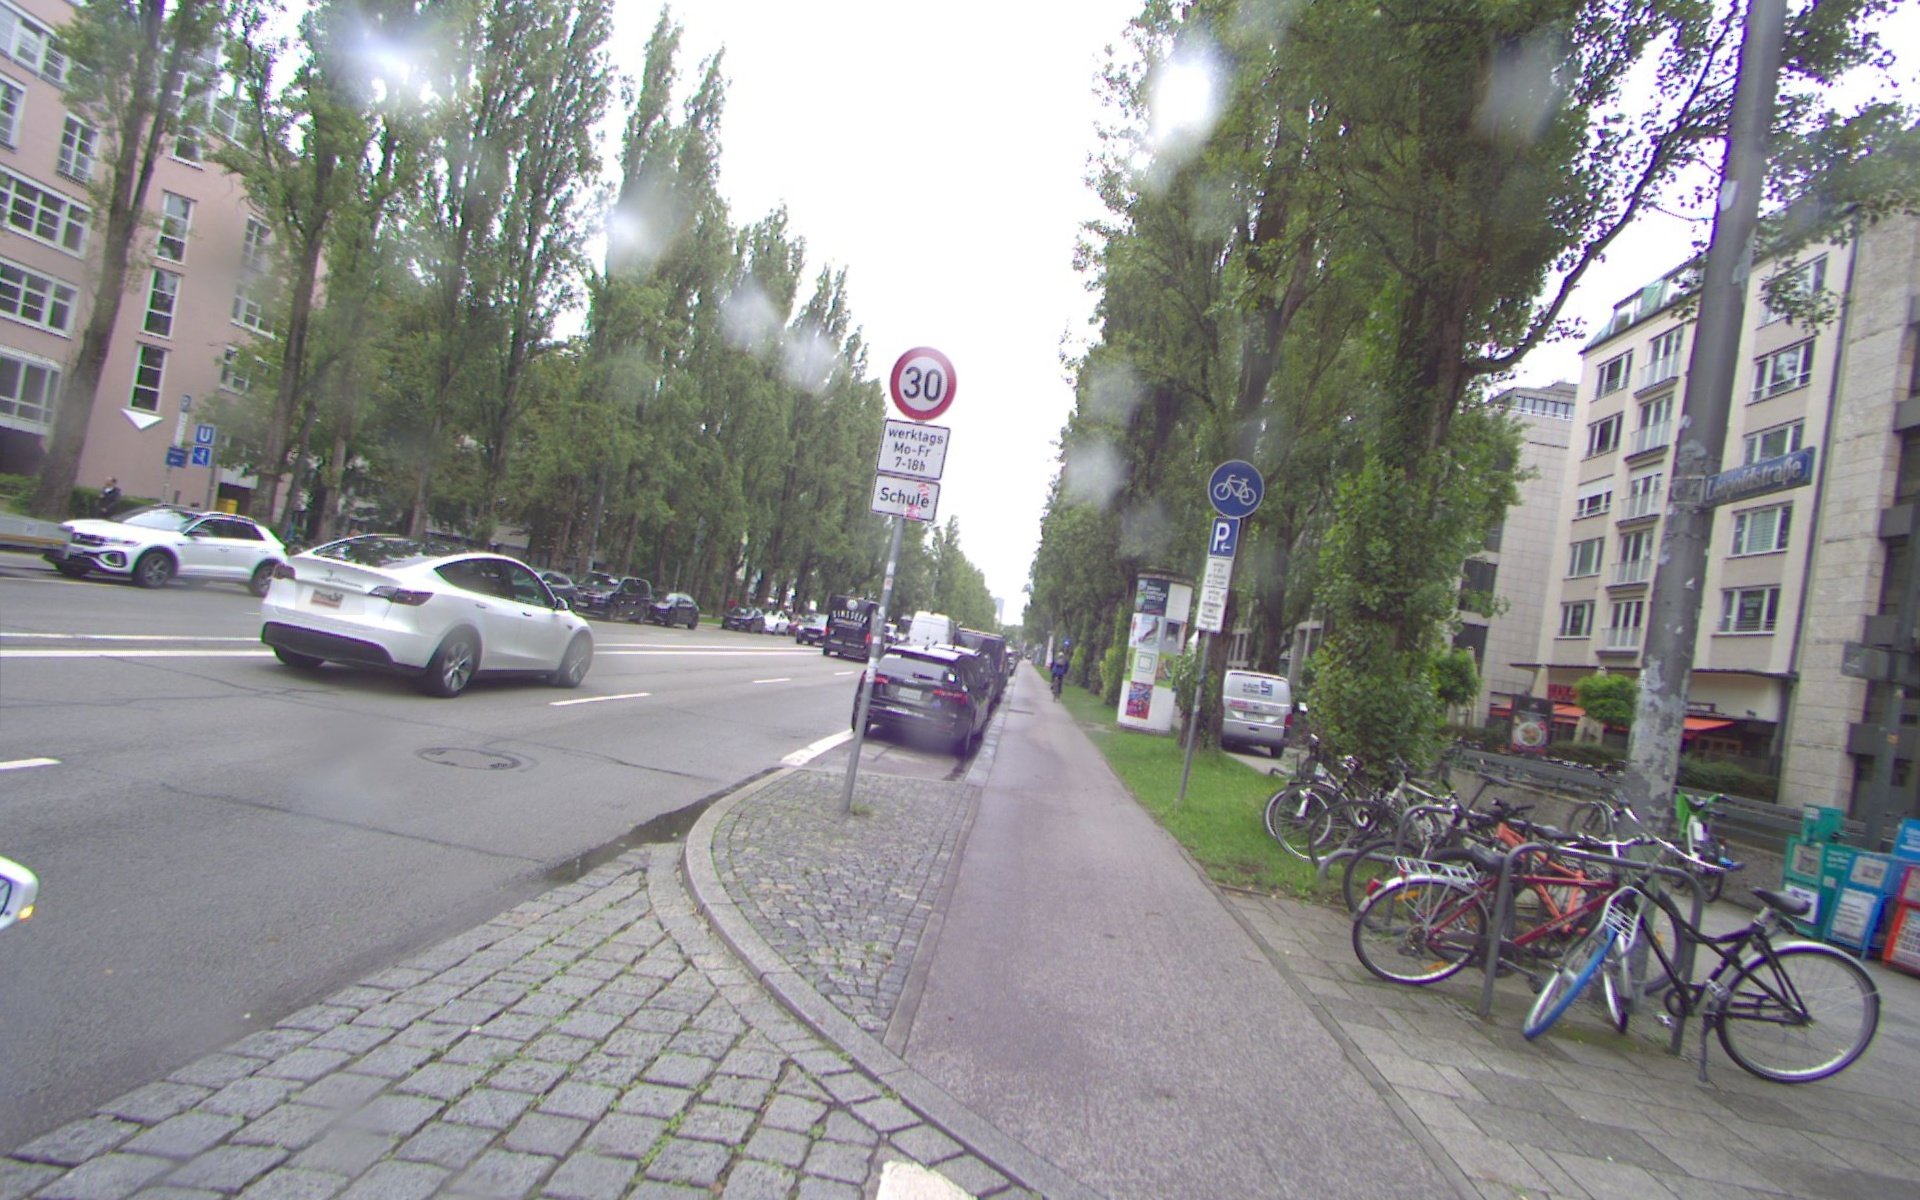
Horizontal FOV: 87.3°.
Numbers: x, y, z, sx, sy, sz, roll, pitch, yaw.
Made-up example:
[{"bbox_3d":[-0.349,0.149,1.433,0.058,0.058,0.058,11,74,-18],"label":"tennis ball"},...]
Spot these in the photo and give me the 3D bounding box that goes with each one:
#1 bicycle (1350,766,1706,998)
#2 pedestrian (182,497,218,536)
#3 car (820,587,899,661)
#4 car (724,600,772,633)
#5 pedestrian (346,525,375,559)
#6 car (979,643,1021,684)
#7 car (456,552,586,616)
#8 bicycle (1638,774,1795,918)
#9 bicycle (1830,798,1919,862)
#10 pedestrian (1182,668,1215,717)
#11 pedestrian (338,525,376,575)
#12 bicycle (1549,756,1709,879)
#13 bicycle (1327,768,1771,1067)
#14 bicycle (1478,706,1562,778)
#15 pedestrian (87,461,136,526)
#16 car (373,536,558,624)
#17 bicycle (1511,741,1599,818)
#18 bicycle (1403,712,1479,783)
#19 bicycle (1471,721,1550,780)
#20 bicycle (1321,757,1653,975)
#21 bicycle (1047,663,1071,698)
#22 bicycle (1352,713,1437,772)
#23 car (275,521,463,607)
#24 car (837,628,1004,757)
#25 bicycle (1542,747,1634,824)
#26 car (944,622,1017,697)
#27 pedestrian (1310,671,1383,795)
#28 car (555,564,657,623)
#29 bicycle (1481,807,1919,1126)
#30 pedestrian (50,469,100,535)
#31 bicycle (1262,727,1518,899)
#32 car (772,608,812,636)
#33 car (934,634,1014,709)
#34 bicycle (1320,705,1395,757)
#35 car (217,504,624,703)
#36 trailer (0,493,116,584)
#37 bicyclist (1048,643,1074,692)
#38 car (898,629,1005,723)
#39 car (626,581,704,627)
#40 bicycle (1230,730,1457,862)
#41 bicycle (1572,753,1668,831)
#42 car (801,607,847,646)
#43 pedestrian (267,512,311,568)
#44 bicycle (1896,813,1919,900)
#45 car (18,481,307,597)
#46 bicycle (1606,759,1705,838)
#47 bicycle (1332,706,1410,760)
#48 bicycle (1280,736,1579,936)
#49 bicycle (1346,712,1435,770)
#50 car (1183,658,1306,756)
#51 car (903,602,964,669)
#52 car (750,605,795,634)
[{"bbox_3d":[3.571,1.761,6.422,1.841,1.062,0.476,8,-1,5],"label":"bicycle"},{"bbox_3d":[-37.009,-4.062,49.008,0.802,1.680,0.898,9,-1,5],"label":"pedestrian"},{"bbox_3d":[-4.203,1.087,43.226,2.045,2.584,5.937,11,-2,3],"label":"car"},{"bbox_3d":[-12.497,0.980,59.590,1.914,1.597,3.609,10,-1,-1],"label":"car"},{"bbox_3d":[-33.349,-3.227,56.001,0.802,1.680,0.898,9,-1,5],"label":"pedestrian"},{"bbox_3d":[1.928,3.037,48.644,1.717,1.608,3.955,11,-2,2],"label":"car"},{"bbox_3d":[-14.519,-0.462,33.581,1.963,1.559,4.329,9,-2,5],"label":"car"},{"bbox_3d":[8.218,2.629,11.025,0.577,1.172,1.872,9,-2,15],"label":"bicycle"},{"bbox_3d":[22.720,5.666,24.565,2.204,1.168,0.648,10,-1,3],"label":"bicycle"},{"bbox_3d":[9.566,3.692,40.327,0.894,1.772,0.861,9,-1,5],"label":"pedestrian"},{"bbox_3d":[-22.577,-1.869,37.656,0.696,1.733,0.732,9,-1,5],"label":"pedestrian"},{"bbox_3d":[8.735,2.807,13.238,0.577,1.173,1.869,9,-2,-4],"label":"bicycle"},{"bbox_3d":[2.990,1.603,5.225,1.842,1.062,0.476,10,-1,5],"label":"bicycle"},{"bbox_3d":[11.085,2.780,19.996,0.577,1.173,1.871,9,-2,5],"label":"bicycle"},{"bbox_3d":[-23.207,-2.907,27.516,0.548,1.623,0.659,9,-1,24],"label":"pedestrian"},{"bbox_3d":[-12.262,-0.412,25.363,1.963,1.661,4.555,9,-2,4],"label":"car"},{"bbox_3d":[11.609,3.478,19.693,0.577,1.173,1.871,9,-2,5],"label":"bicycle"},{"bbox_3d":[9.780,2.977,20.531,0.577,1.172,1.987,9,-2,5],"label":"bicycle"},{"bbox_3d":[14.196,3.867,26.003,0.578,1.173,1.866,9,-1,-10],"label":"bicycle"},{"bbox_3d":[3.508,1.763,6.796,1.841,1.062,0.476,8,-1,5],"label":"bicycle"},{"bbox_3d":[3.554,2.883,36.115,0.705,1.160,1.904,6,-3,6],"label":"bicycle"},{"bbox_3d":[11.476,3.753,26.618,1.834,1.173,0.588,10,-1,6],"label":"bicycle"},{"bbox_3d":[-15.019,-0.844,25.909,1.963,1.559,4.328,10,-2,3],"label":"car"},{"bbox_3d":[-0.453,1.402,15.969,1.724,1.442,4.455,11,-2,7],"label":"car"},{"bbox_3d":[12.205,3.580,19.629,0.577,1.173,1.871,9,-2,5],"label":"bicycle"},{"bbox_3d":[0.697,1.908,32.846,1.882,1.945,5.044,11,-2,2],"label":"car"},{"bbox_3d":[6.646,2.261,17.344,0.703,1.951,0.906,8,0,5],"label":"pedestrian"},{"bbox_3d":[-14.055,-0.193,40.273,1.963,1.817,4.766,9,-2,3],"label":"car"},{"bbox_3d":[3.512,1.673,4.662,1.843,1.062,0.476,9,-1,-2],"label":"bicycle"},{"bbox_3d":[-23.591,-2.607,26.824,0.548,1.623,0.659,9,-1,24],"label":"pedestrian"},{"bbox_3d":[3.589,1.768,8.503,1.799,1.050,0.514,9,-1,8],"label":"bicycle"},{"bbox_3d":[-11.822,1.604,71.063,1.734,1.596,3.976,9,-2,4],"label":"car"},{"bbox_3d":[0.464,1.861,26.862,1.717,1.543,4.239,11,-2,4],"label":"car"},{"bbox_3d":[11.734,3.873,29.721,1.834,1.173,0.588,10,-1,6],"label":"bicycle"},{"bbox_3d":[-6.056,0.133,12.149,1.964,1.592,4.643,11,-2,4],"label":"car"},{"bbox_3d":[-15.766,-1.207,14.102,2.360,1.212,6.045,10,-2,4],"label":"trailer"},{"bbox_3d":[3.608,2.402,36.025,0.711,1.638,0.757,8,0,5],"label":"bicyclist"},{"bbox_3d":[-0.087,1.592,21.689,1.716,1.543,3.913,11,-2,5],"label":"car"},{"bbox_3d":[-13.411,0.211,45.990,1.964,1.624,4.356,10,-2,1],"label":"car"},{"bbox_3d":[3.476,1.772,9.225,1.799,0.827,0.472,9,-1,8],"label":"bicycle"},{"bbox_3d":[12.804,3.706,19.582,0.577,1.173,1.871,9,-2,5],"label":"bicycle"},{"bbox_3d":[-7.229,1.427,53.845,1.965,1.736,4.759,8,-2,-4],"label":"car"},{"bbox_3d":[-22.802,-2.019,34.189,0.696,1.733,0.732,9,-1,5],"label":"pedestrian"},{"bbox_3d":[13.828,3.656,13.581,0.577,1.173,1.871,9,-2,5],"label":"bicycle"},{"bbox_3d":[-15.074,-1.064,19.389,1.772,1.559,4.239,8,-2,6],"label":"car"},{"bbox_3d":[13.447,3.818,19.516,0.577,1.173,1.871,9,-2,5],"label":"bicycle"},{"bbox_3d":[11.857,3.843,29.061,1.834,1.173,0.588,10,0,6],"label":"bicycle"},{"bbox_3d":[3.542,1.772,7.691,1.895,1.118,0.514,9,-1,3],"label":"bicycle"},{"bbox_3d":[11.691,3.819,27.350,1.994,1.173,0.588,10,0,6],"label":"bicycle"},{"bbox_3d":[7.103,2.609,25.706,1.781,1.917,5.209,9,-2,5],"label":"car"},{"bbox_3d":[-1.193,1.725,48.751,2.009,2.681,6.047,11,-1,4],"label":"car"},{"bbox_3d":[-12.142,1.278,65.303,1.734,1.597,3.974,10,-1,4],"label":"car"}]
